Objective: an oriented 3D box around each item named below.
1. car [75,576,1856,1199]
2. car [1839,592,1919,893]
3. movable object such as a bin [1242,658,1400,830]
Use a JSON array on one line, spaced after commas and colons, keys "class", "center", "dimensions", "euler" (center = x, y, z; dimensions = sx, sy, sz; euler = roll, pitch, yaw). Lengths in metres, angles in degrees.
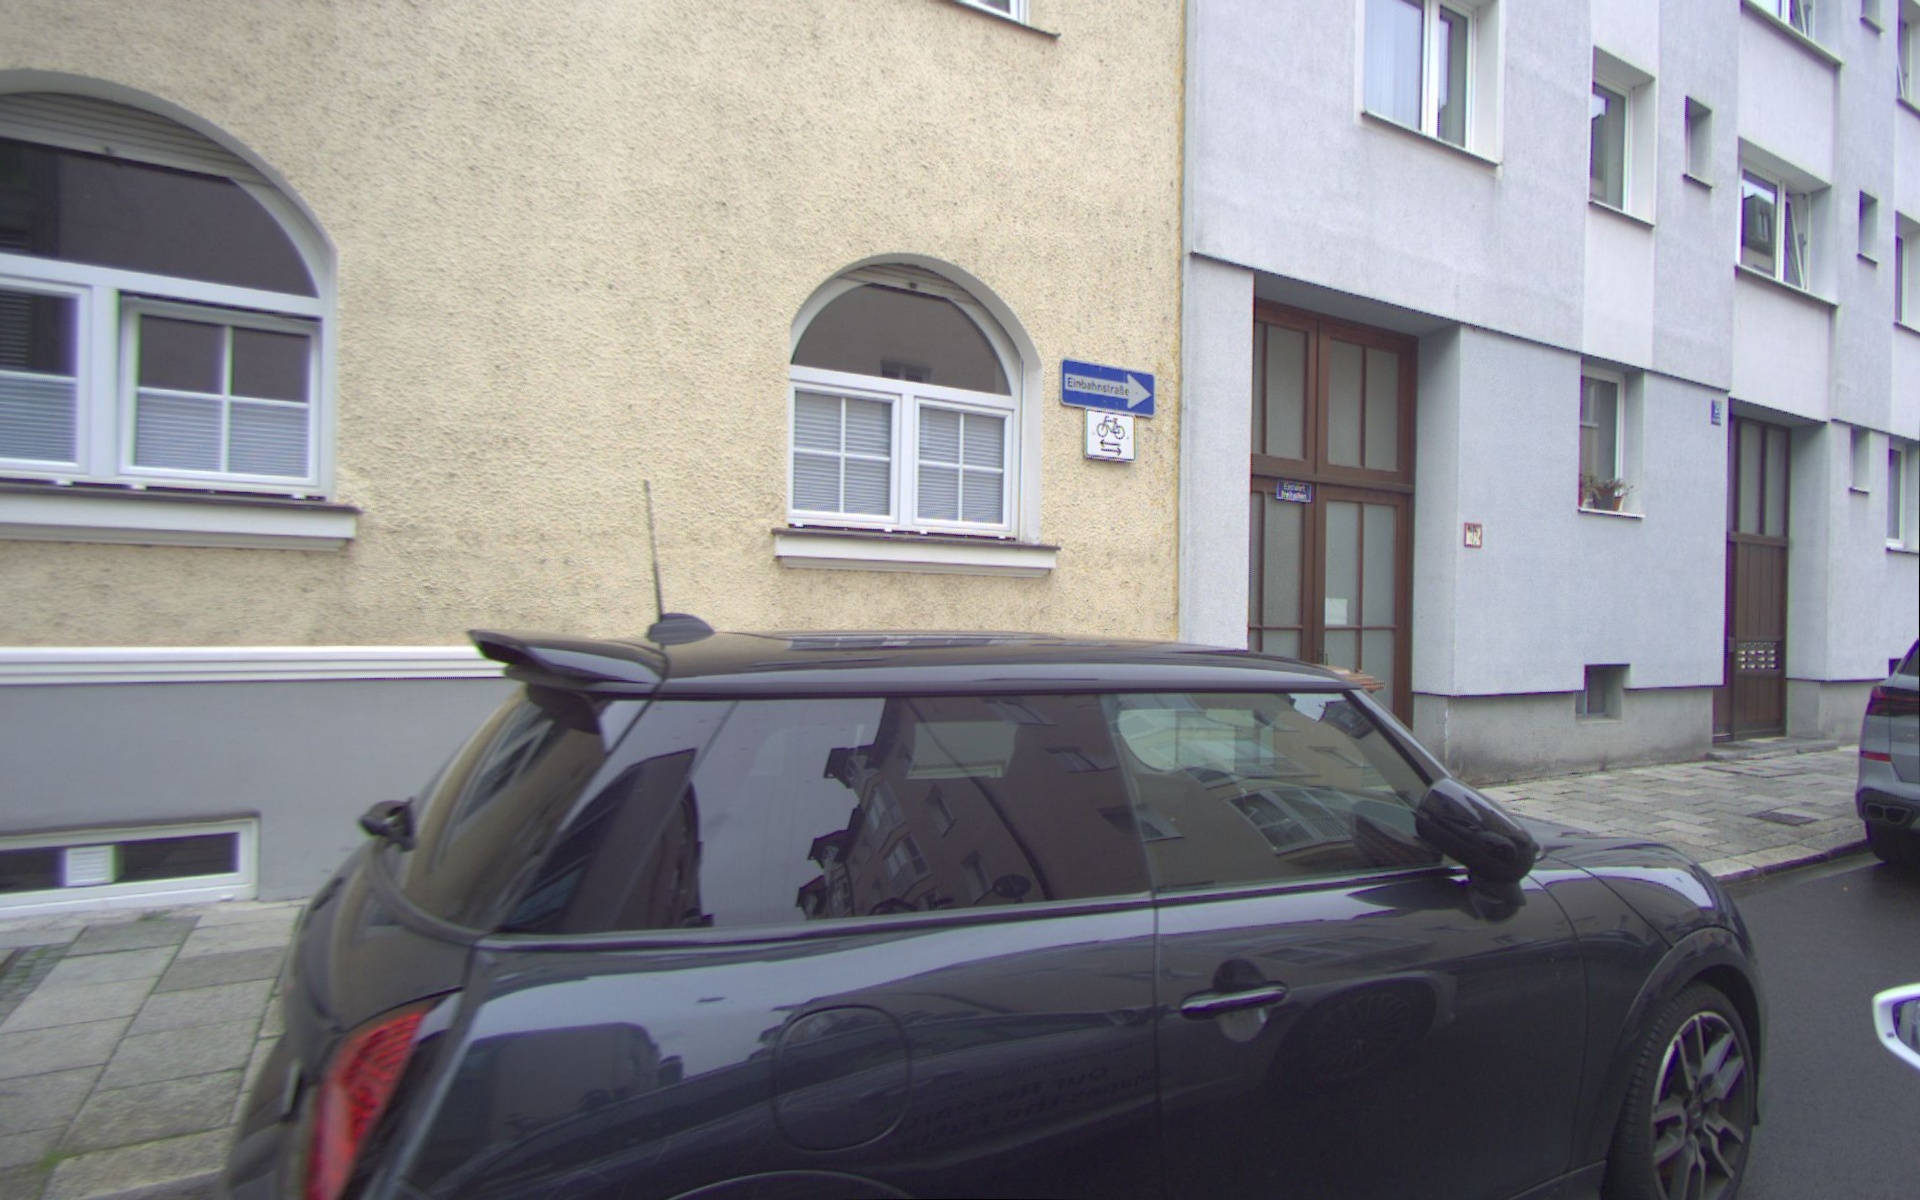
[{"class": "car", "center": [0.424, 0.802, 2.507], "dimensions": [3.691, 1.429, 1.644], "euler": [3, -3, -30]}, {"class": "car", "center": [8.009, 0.901, 6.735], "dimensions": [4.682, 1.793, 1.853], "euler": [2, -3, -31]}, {"class": "movable object such as a bin", "center": [2.579, 0.997, 7.232], "dimensions": [0.615, 1.065, 0.803], "euler": [2, 3, -29]}]
